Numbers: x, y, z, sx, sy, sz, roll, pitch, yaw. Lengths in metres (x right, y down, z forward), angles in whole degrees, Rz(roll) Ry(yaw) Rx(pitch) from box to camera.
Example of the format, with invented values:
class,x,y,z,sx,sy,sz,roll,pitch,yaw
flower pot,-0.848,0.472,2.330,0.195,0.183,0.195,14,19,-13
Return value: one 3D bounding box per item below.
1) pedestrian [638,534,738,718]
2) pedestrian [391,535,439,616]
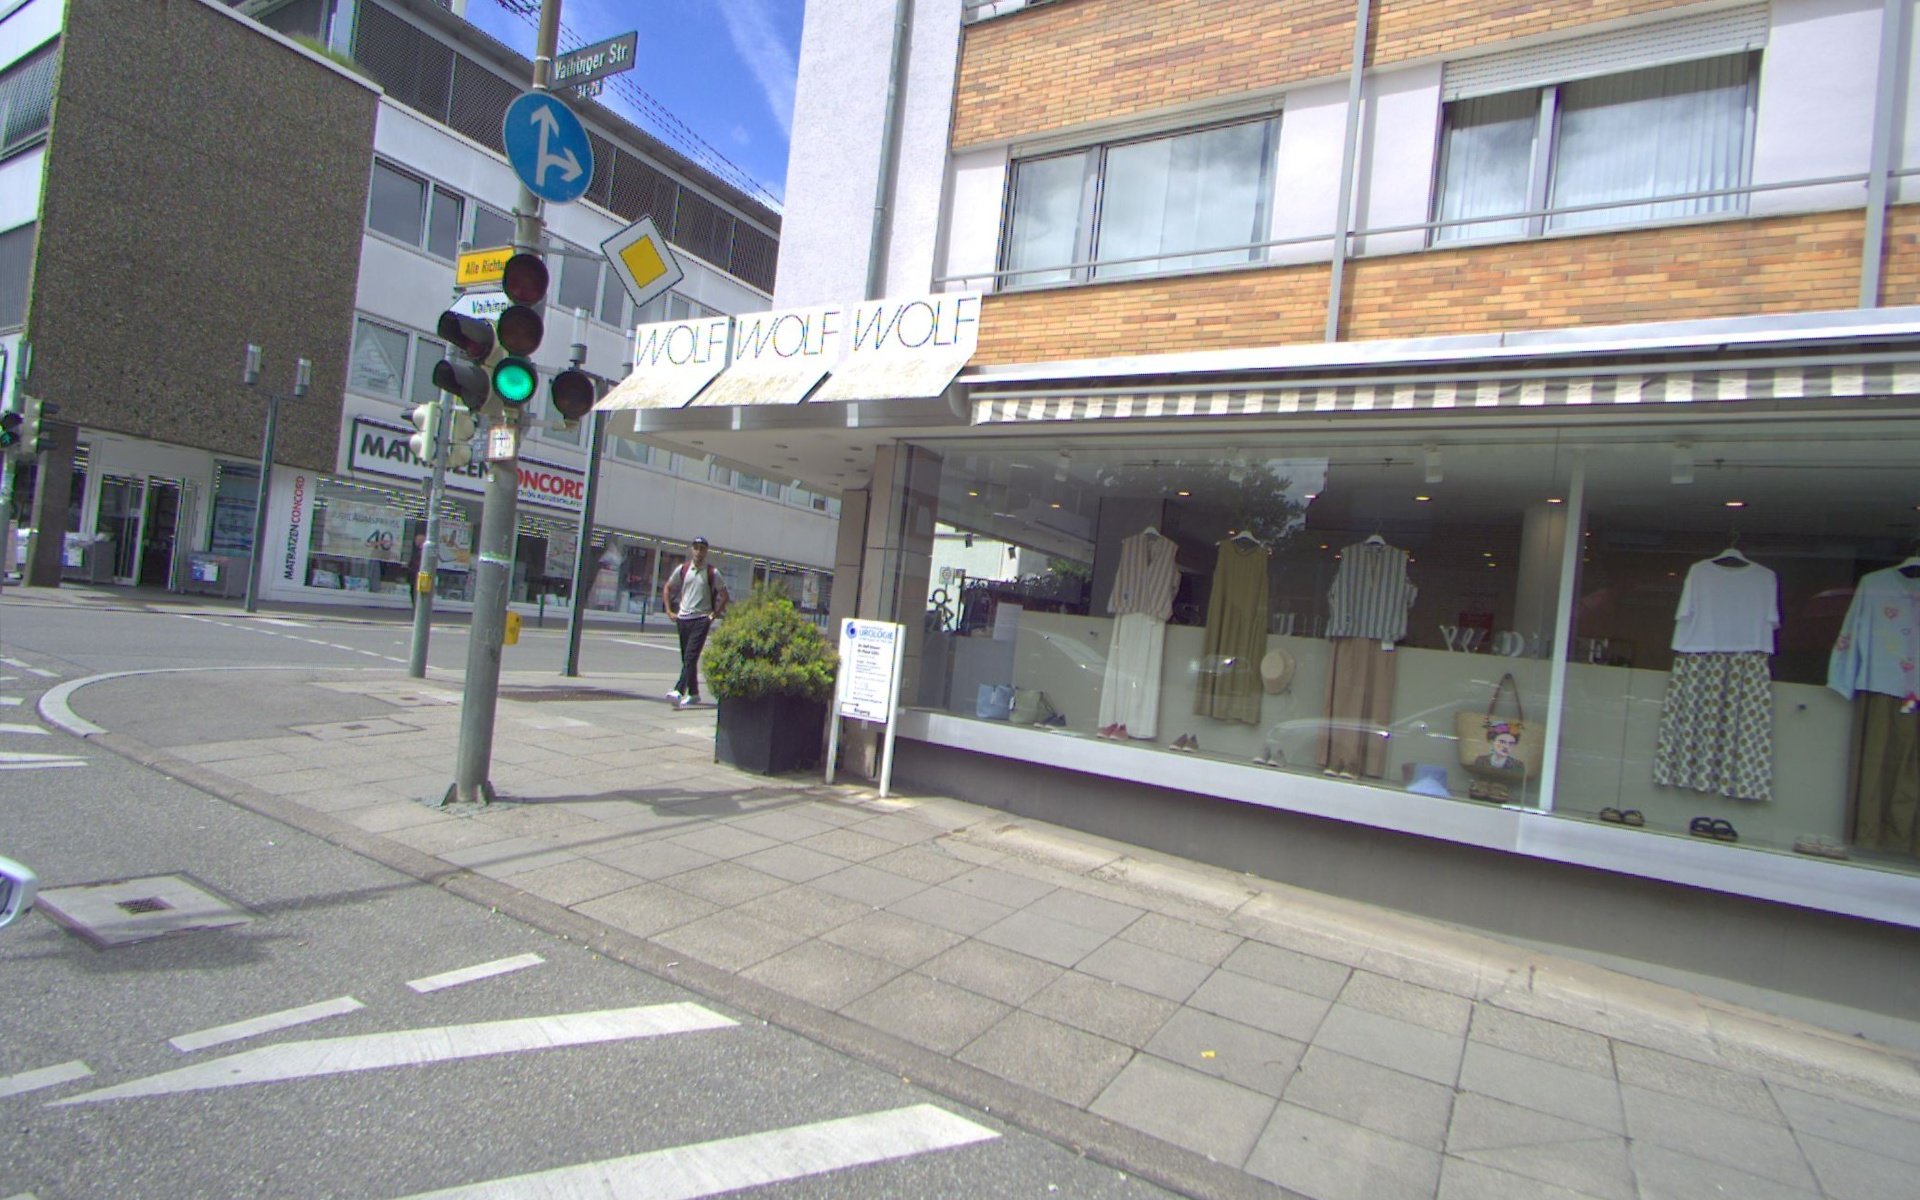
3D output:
class,x,y,z,sx,sy,sz,roll,pitch,yaw
pedestrian,-2.879,0.265,10.701,0.762,1.839,0.612,5,3,0
pedestrian,-12.135,-0.550,22.412,0.608,1.728,0.580,5,2,0
